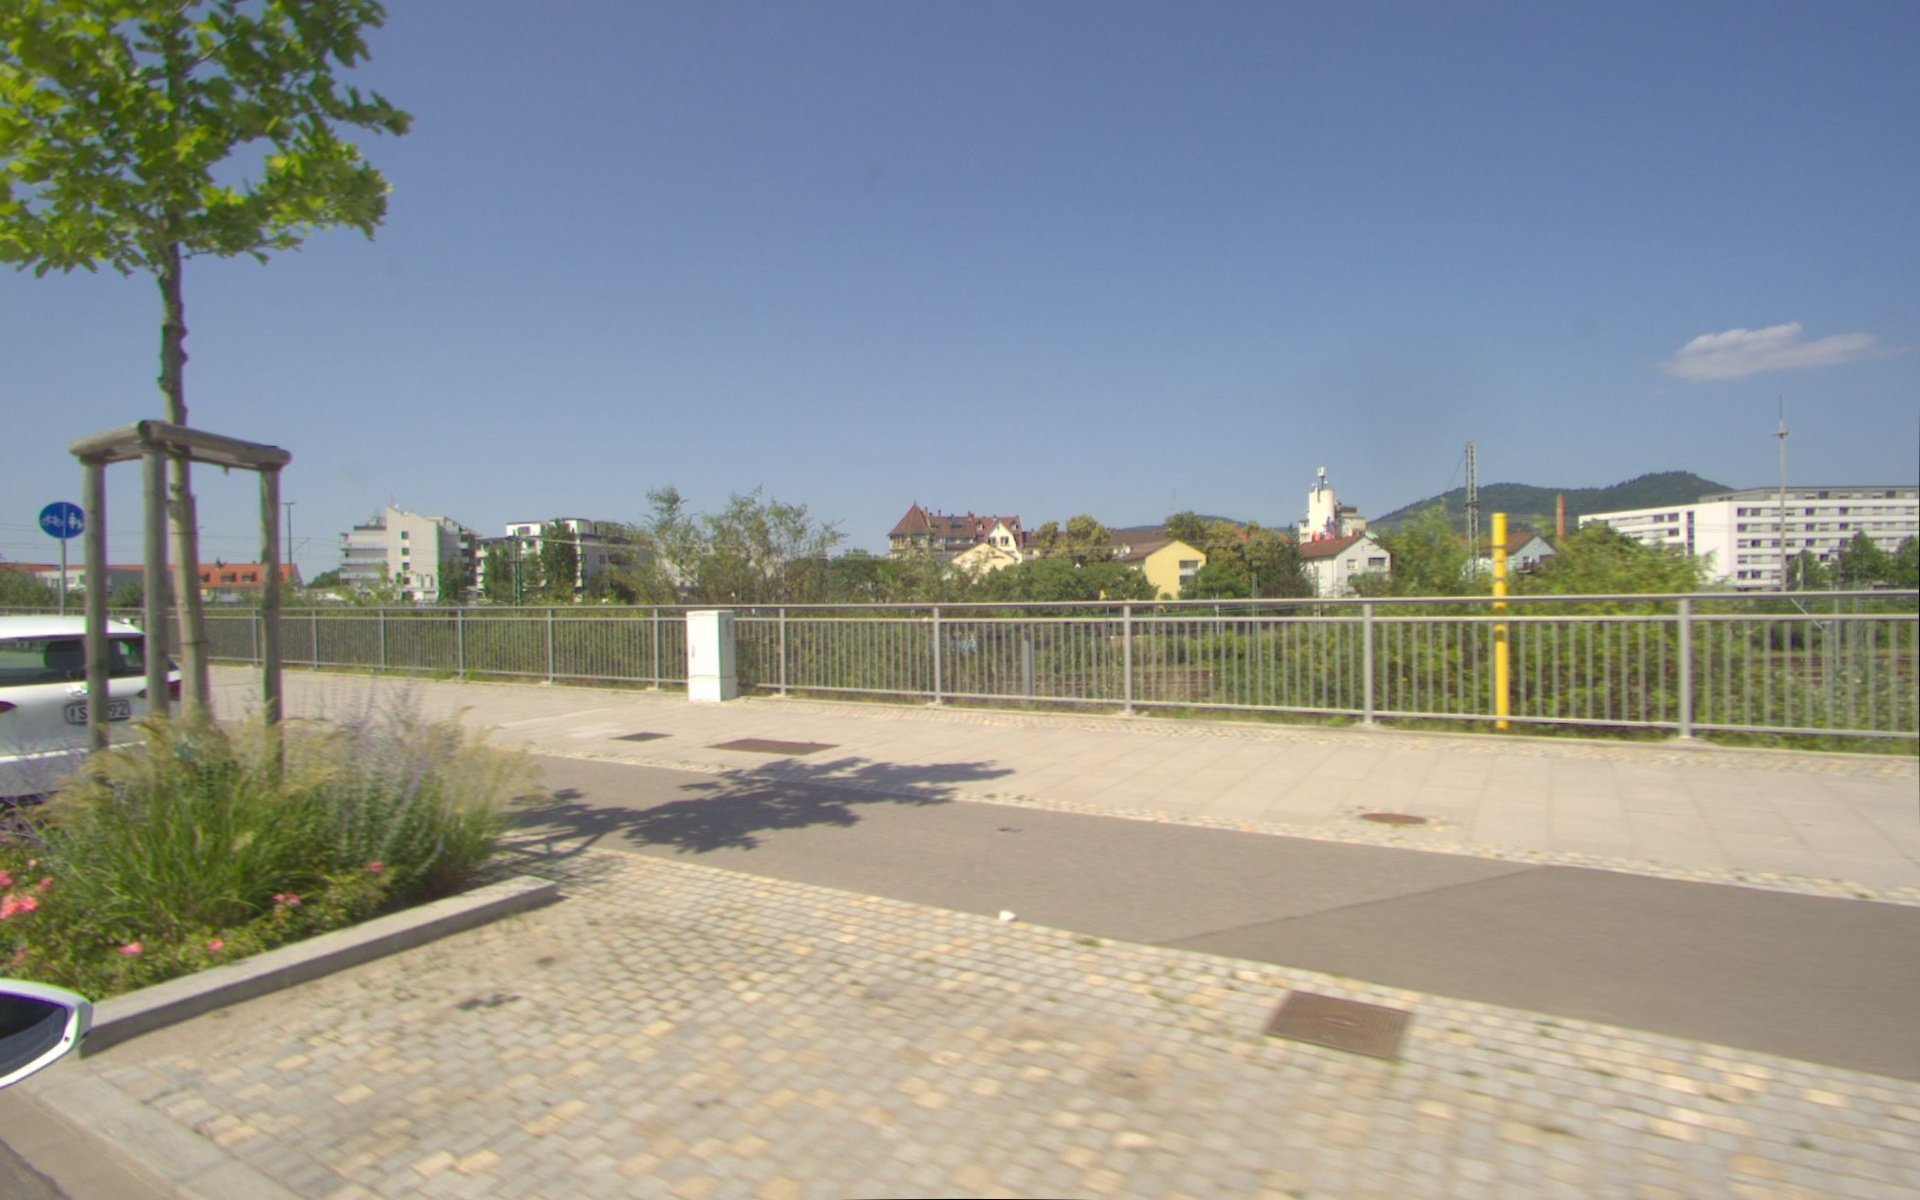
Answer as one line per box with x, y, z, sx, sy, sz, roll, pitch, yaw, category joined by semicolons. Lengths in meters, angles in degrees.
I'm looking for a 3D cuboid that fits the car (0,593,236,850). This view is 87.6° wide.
-7.228;0.749;7.336;4.146;1.495;1.692;-1;1;33;car
